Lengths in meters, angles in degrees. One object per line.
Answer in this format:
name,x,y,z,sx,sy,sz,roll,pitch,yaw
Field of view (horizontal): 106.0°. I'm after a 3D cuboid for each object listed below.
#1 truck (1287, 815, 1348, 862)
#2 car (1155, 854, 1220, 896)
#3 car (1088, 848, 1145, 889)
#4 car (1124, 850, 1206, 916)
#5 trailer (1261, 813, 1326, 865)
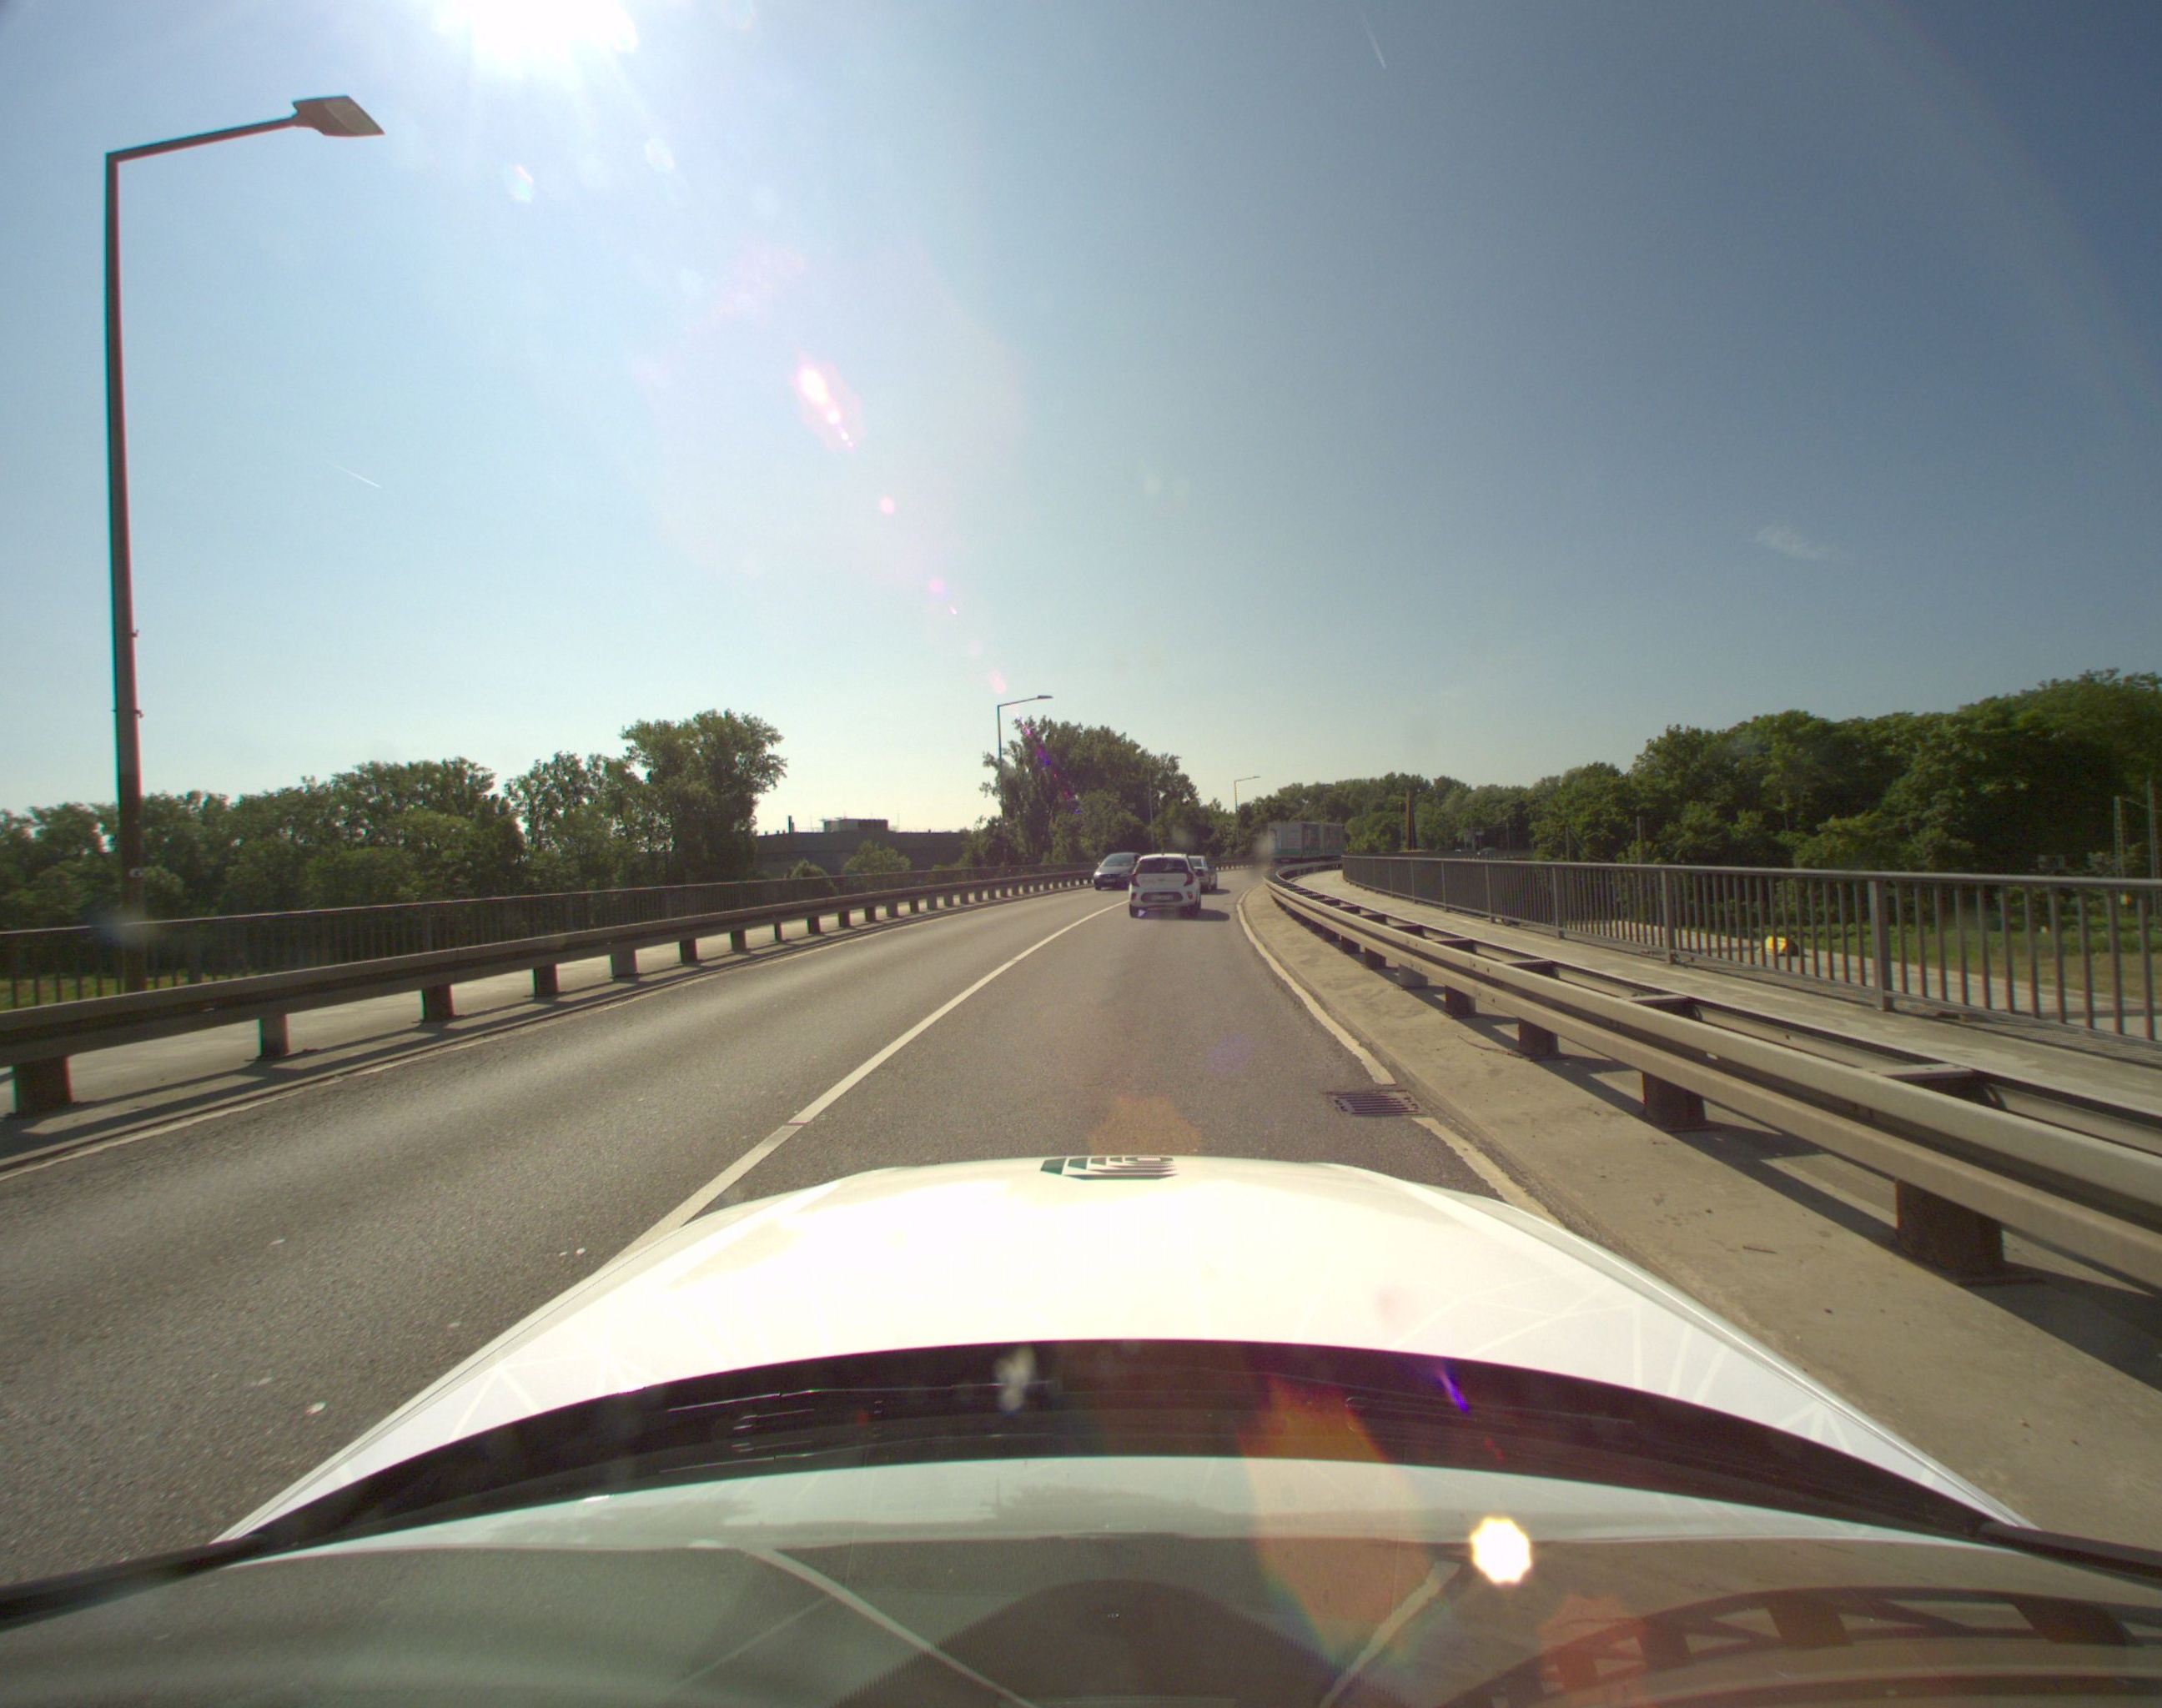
truck,20.142,-1.359,69.109,3.230,3.757,8.422,1,2,28
car,4.284,0.766,32.060,1.925,1.486,4.919,-1,0,14
car,1.612,0.592,35.727,1.720,1.625,4.318,-2,1,12
car,2.206,0.709,20.556,1.690,1.494,4.012,0,-1,11
trailer,16.321,-1.180,62.158,3.194,3.757,7.872,1,2,27
